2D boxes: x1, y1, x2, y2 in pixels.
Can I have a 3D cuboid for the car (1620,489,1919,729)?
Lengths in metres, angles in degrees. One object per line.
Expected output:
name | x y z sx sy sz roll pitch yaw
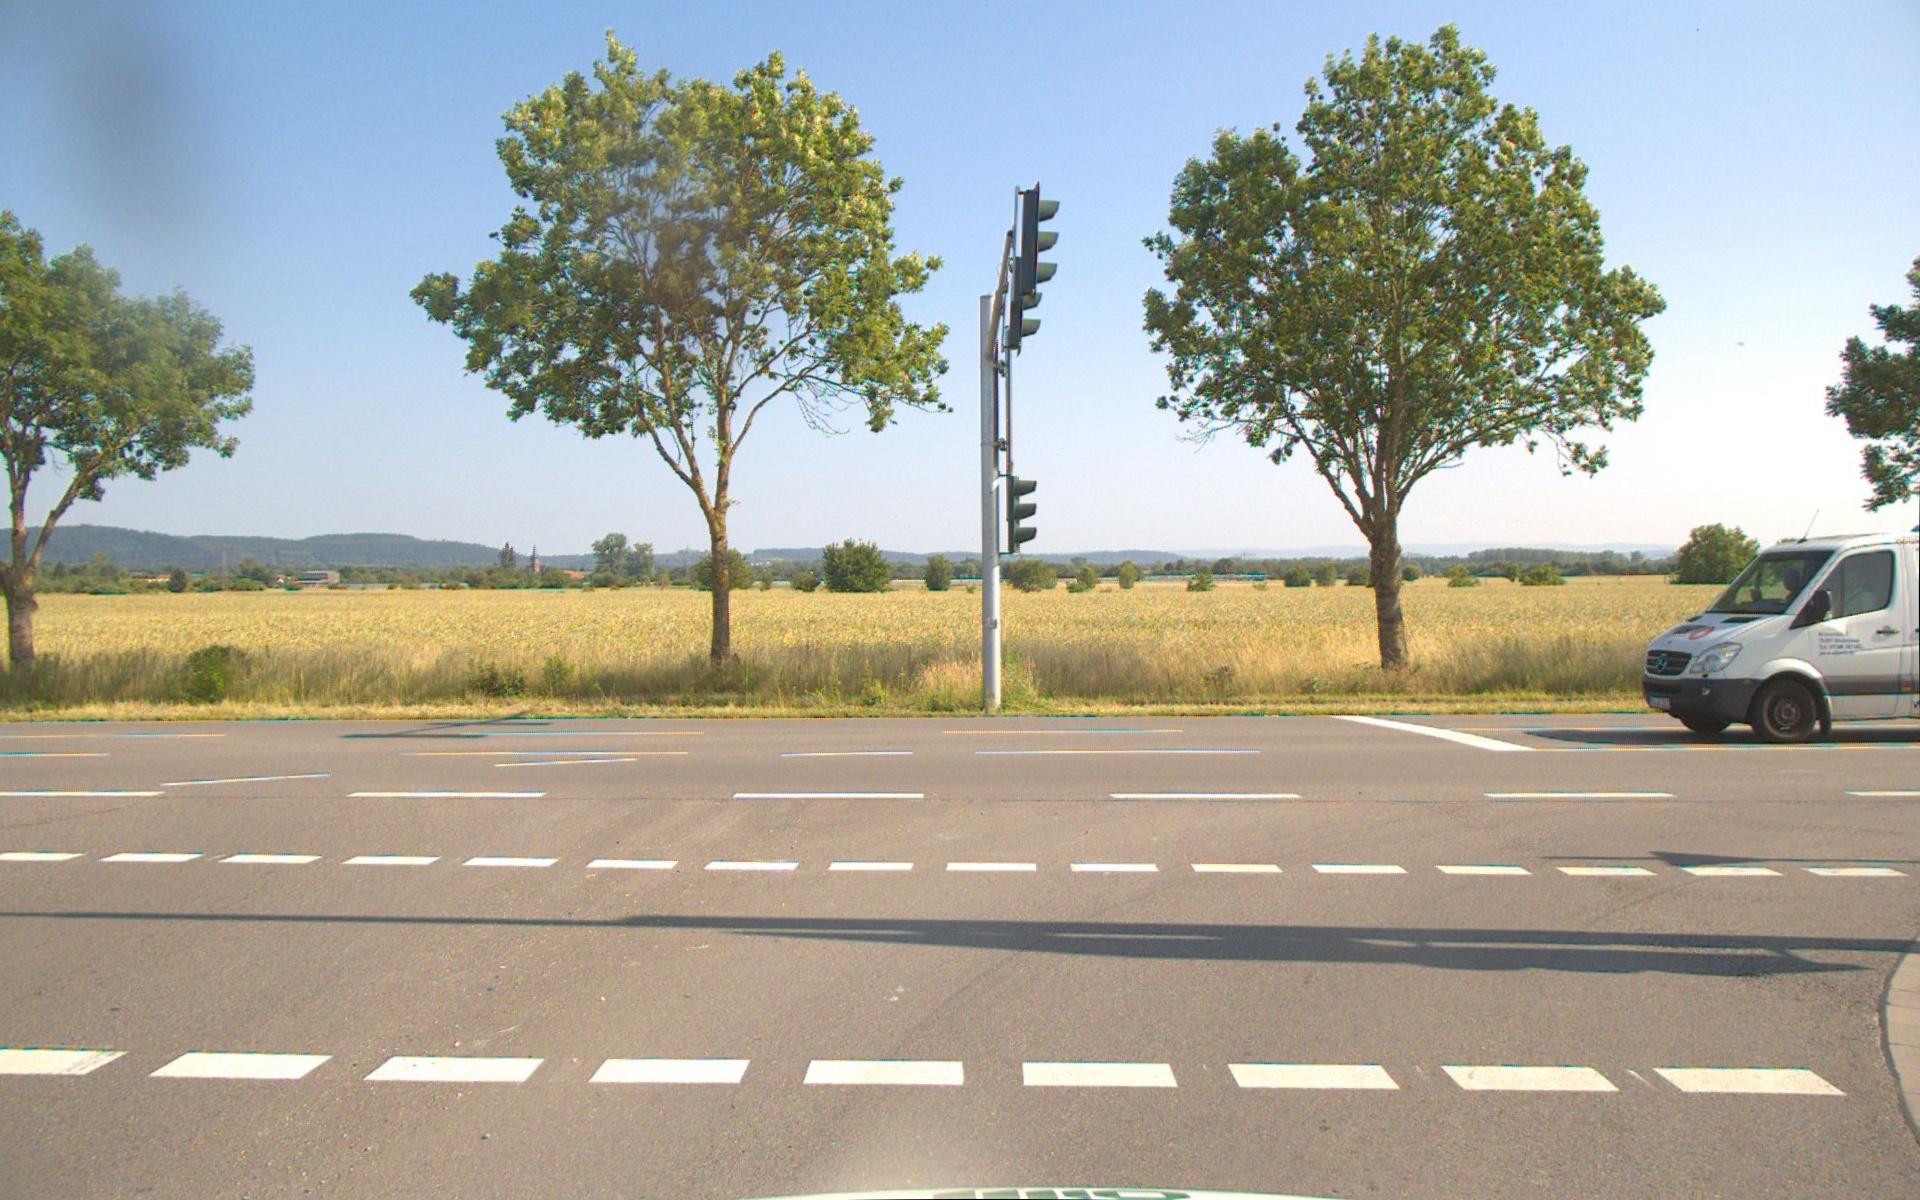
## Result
car | 10.837 0.147 18.871 5.838 2.536 1.999 1 -1 -3
